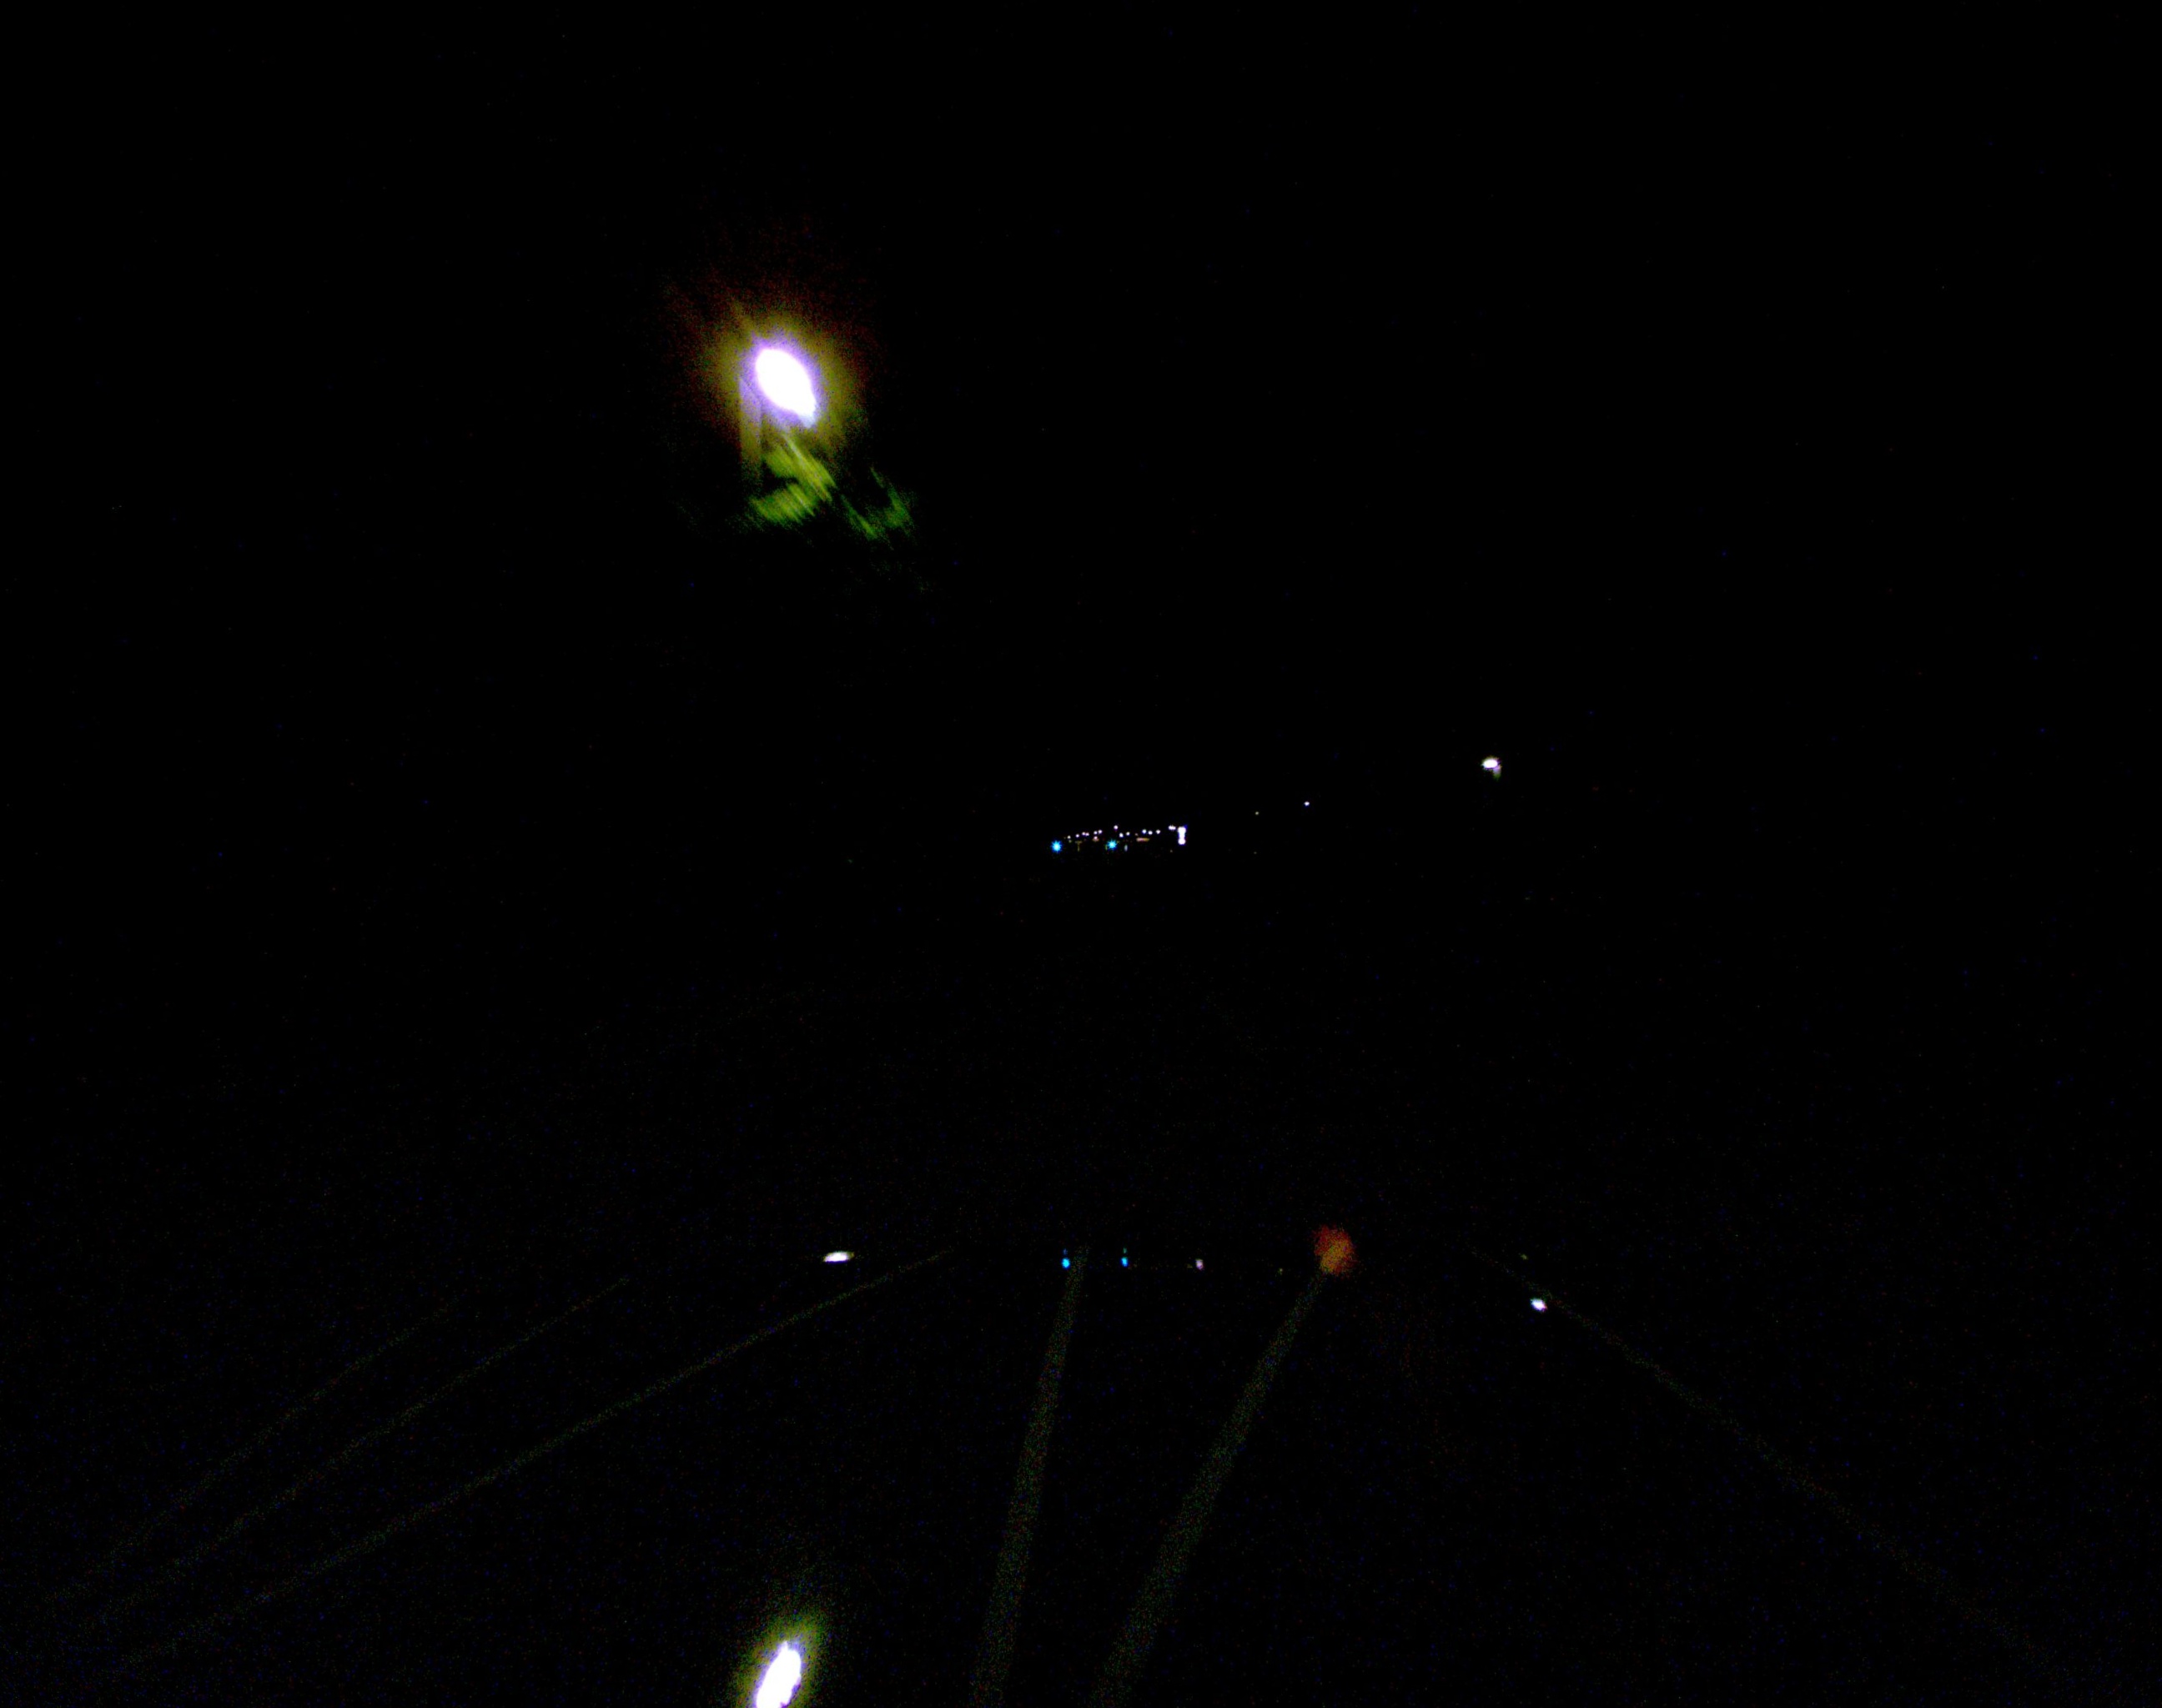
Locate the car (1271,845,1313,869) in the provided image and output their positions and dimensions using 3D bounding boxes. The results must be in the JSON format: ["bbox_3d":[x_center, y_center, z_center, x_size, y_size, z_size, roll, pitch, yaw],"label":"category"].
[{"bbox_3d":[16.297,0.188,59.031,2.124,1.761,4.721,2,1,3],"label":"car"}]

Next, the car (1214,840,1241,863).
[{"bbox_3d":[16.472,-0.314,85.639,2.164,2.498,4.721,2,1,3],"label":"car"}]

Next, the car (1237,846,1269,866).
[{"bbox_3d":[16.246,0.123,72.141,2.124,1.761,4.721,2,1,3],"label":"car"}]

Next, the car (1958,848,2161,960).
[{"bbox_3d":[15.971,0.753,10.696,1.768,1.559,4.693,3,0,1],"label":"car"}]
